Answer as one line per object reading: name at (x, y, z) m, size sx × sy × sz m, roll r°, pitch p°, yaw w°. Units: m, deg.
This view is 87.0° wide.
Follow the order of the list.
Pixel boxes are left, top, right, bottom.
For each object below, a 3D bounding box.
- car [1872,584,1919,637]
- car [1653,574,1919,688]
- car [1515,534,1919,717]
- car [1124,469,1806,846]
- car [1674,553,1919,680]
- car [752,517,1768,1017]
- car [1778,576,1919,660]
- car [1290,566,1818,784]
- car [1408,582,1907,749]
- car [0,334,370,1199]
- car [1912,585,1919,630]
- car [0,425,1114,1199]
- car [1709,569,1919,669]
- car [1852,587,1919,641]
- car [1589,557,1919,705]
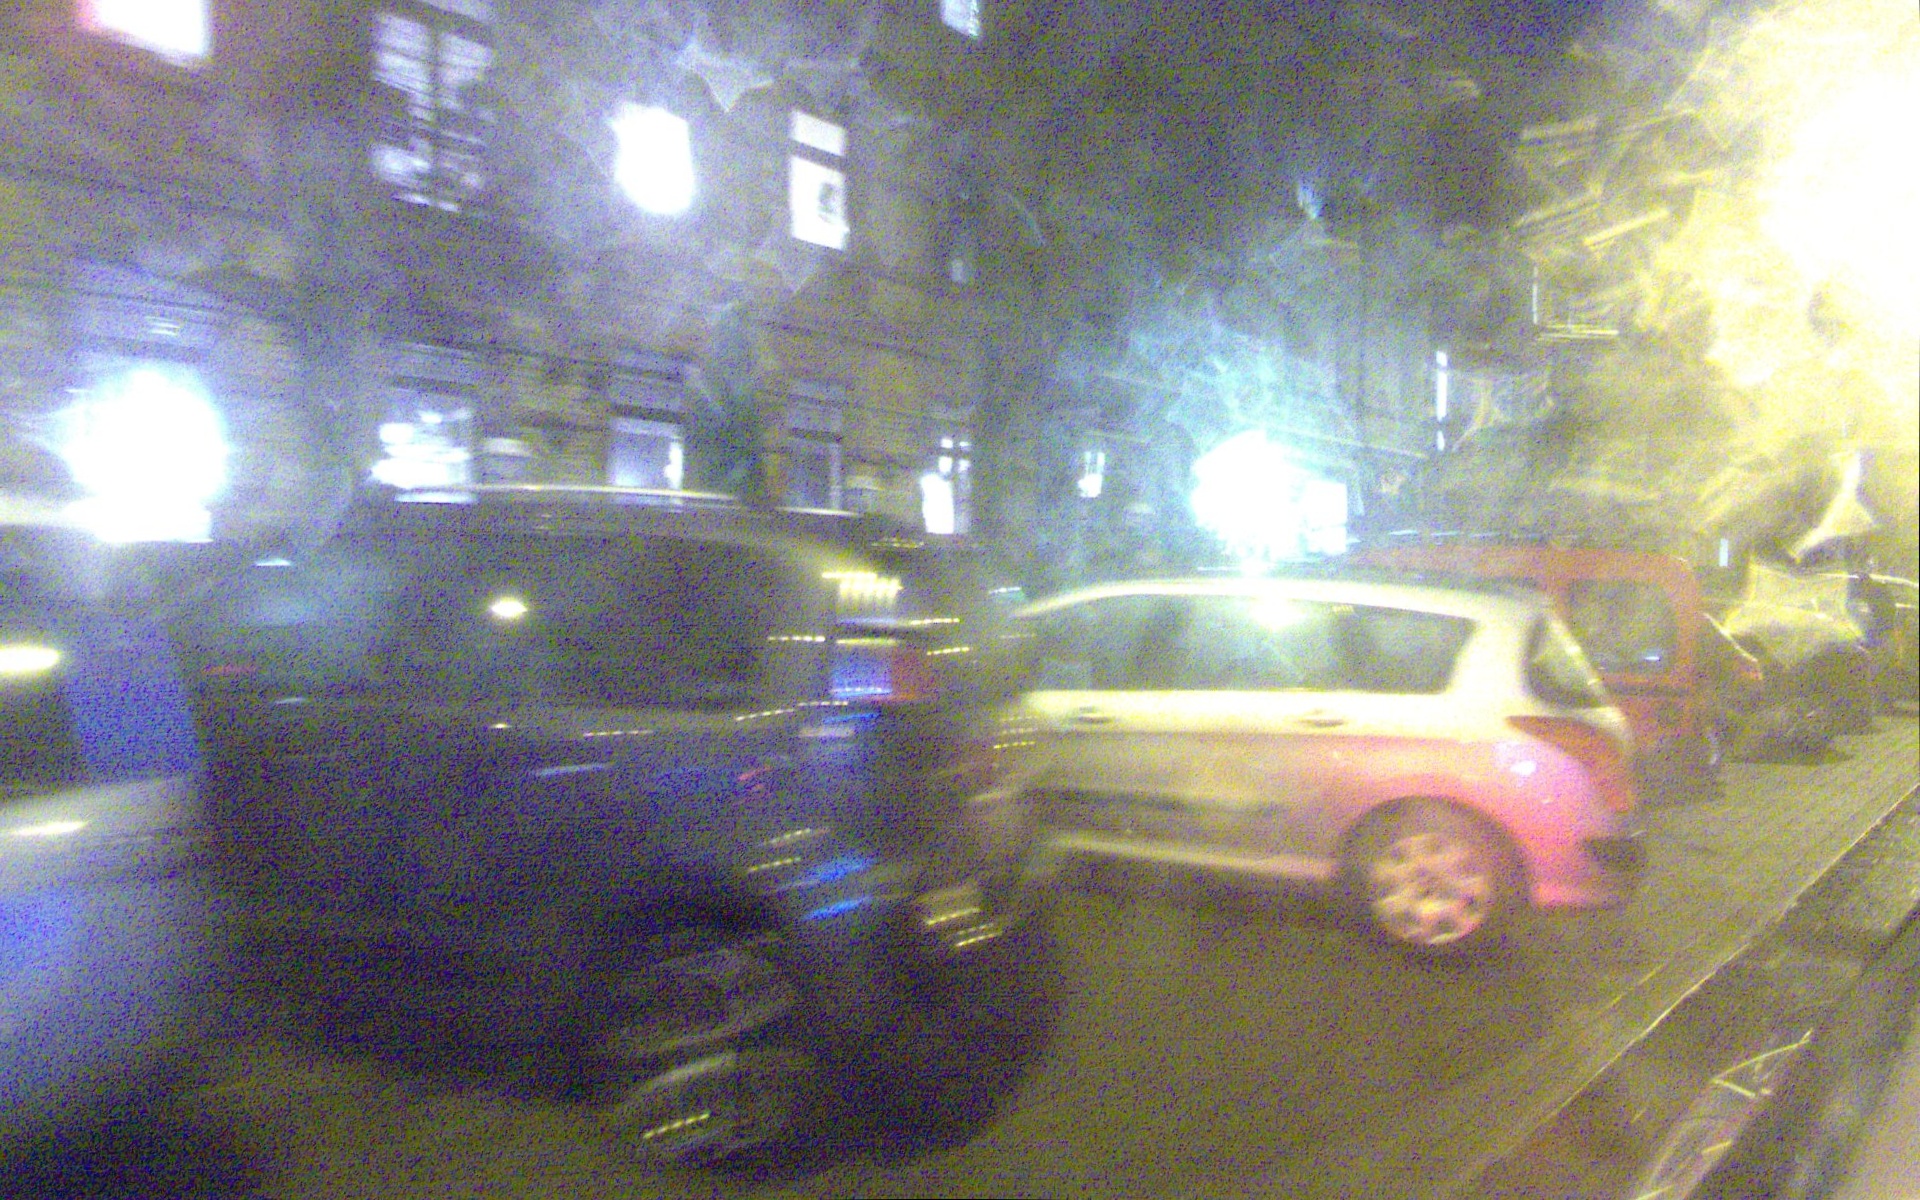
car at (31.157, 0.406, 31.346) m, size 3.897 × 1.581 × 1.695 m, roll 4°, pitch 3°, yaw 27°
car at (13.791, 0.459, 16.299) m, size 3.880 × 1.569 × 1.735 m, roll 3°, pitch 2°, yaw 17°
car at (9.480, 0.240, 12.797) m, size 3.875 × 1.966 × 1.737 m, roll 3°, pitch 2°, yaw 13°
car at (3.108, 0.237, 6.991) m, size 3.687 × 2.053 × 1.714 m, roll 3°, pitch 2°, yaw 15°
car at (15.834, 0.276, 18.001) m, size 4.656 × 2.004 × 1.966 m, roll 3°, pitch 2°, yaw 21°
car at (1.182, 0.487, 5.074) m, size 4.027 × 1.617 × 1.820 m, roll 3°, pitch 2°, yaw 23°
car at (20.114, 0.404, 21.514) m, size 3.899 × 1.639 × 1.694 m, roll 4°, pitch 3°, yaw 28°
car at (4.871, 0.519, 8.923) m, size 3.657 × 1.470 × 1.649 m, roll 3°, pitch 2°, yaw 19°
car at (7.113, 0.592, 10.810) m, size 3.999 × 1.471 × 1.671 m, roll 1°, pitch 1°, yaw 15°
car at (-3.214, 0.405, 1.715) m, size 3.688 × 1.733 × 1.764 m, roll 3°, pitch 2°, yaw 16°
car at (35.420, 0.395, 34.498) m, size 3.897 × 1.581 × 1.695 m, roll 4°, pitch 3°, yaw 27°
car at (-1.480, 0.393, 3.464) m, size 3.740 × 1.733 × 1.741 m, roll 3°, pitch 2°, yaw 16°
car at (17.658, 0.343, 20.319) m, size 3.899 × 1.763 × 1.694 m, roll 4°, pitch 3°, yaw 28°
car at (28.712, 0.479, 29.319) m, size 3.897 × 1.481 × 1.695 m, roll 4°, pitch 3°, yaw 27°
car at (11.525, 0.378, 14.420) m, size 3.875 × 1.815 × 1.737 m, roll 3°, pitch 2°, yaw 13°
